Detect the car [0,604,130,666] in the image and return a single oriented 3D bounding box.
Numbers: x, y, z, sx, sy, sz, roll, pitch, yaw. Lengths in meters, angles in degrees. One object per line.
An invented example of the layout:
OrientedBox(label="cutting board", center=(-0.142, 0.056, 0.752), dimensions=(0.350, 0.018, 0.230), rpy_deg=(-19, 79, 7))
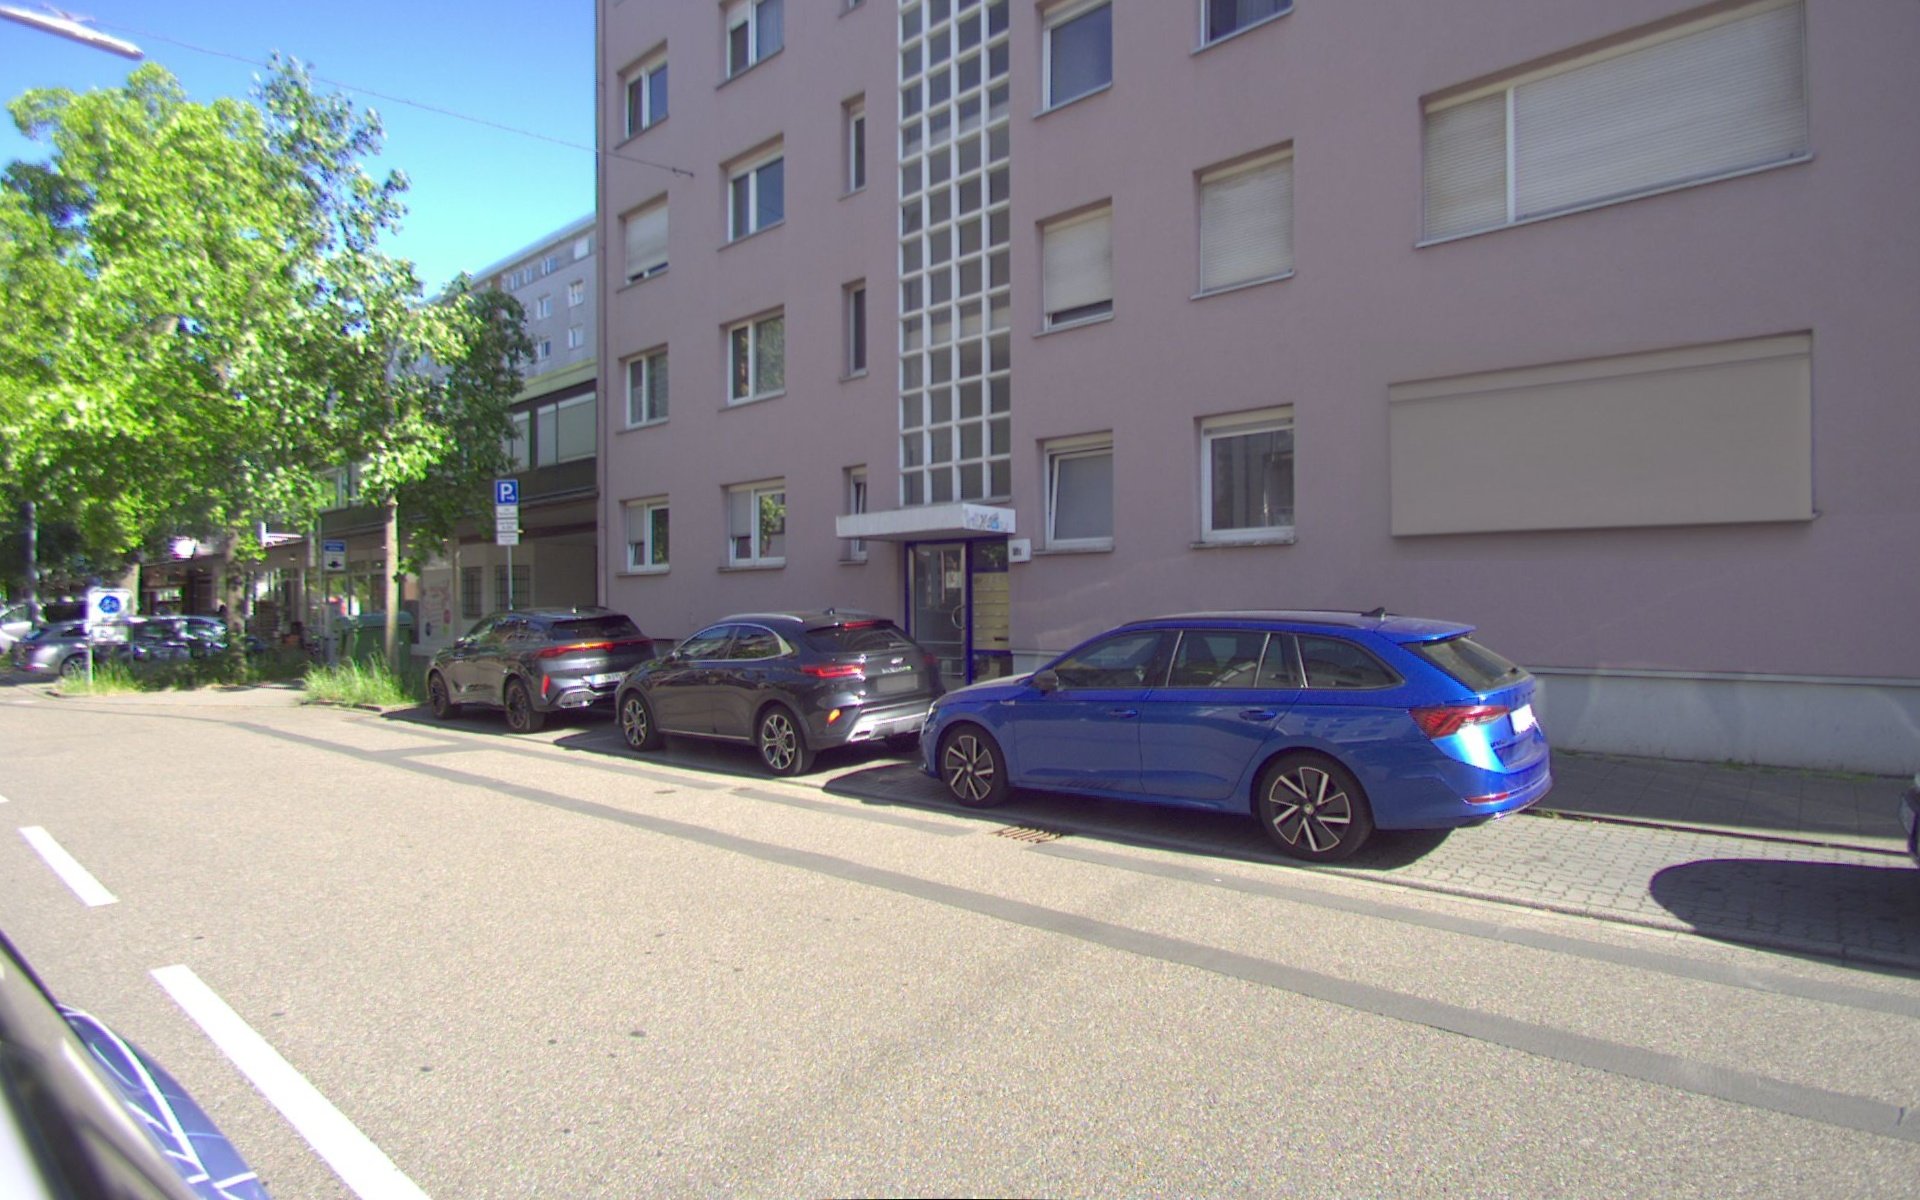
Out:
OrientedBox(label="car", center=(-31.268, 1.161, 34.834), dimensions=(1.999, 2.047, 3.945), rpy_deg=(-1, -1, 41))

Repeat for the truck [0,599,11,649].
OrientedBox(label="truck", center=(-52.277, 1.240, 51.667), dimensions=(1.993, 2.615, 5.266), rpy_deg=(-1, -1, 31))

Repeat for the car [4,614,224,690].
OrientedBox(label="car", center=(-20.957, 1.219, 25.175), dimensions=(1.999, 1.687, 3.945), rpy_deg=(-1, -1, 41))

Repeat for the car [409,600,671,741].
OrientedBox(label="car", center=(-6.039, 0.885, 14.336), dimensions=(4.141, 1.604, 1.798), rpy_deg=(-1, 2, 43))

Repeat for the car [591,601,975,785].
OrientedBox(label="car", center=(-2.035, 0.832, 10.804), dimensions=(4.245, 1.519, 1.798), rpy_deg=(-1, 1, 43))

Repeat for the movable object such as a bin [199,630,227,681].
OrientedBox(label="movable object such as a bin", center=(-18.473, 1.373, 25.029), dimensions=(0.409, 1.234, 0.482), rpy_deg=(-1, -1, 41))

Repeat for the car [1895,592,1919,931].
OrientedBox(label="car", center=(6.311, 0.684, 3.210), dimensions=(4.812, 1.476, 1.700), rpy_deg=(-1, 1, 41))

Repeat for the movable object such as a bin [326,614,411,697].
OrientedBox(label="movable object such as a bin", center=(-11.562, 1.055, 19.778), dimensions=(1.230, 1.557, 1.019), rpy_deg=(0, -1, -44))

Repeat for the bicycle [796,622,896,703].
OrientedBox(label="bicycle", center=(-1.675, 0.885, 14.716), dimensions=(1.649, 1.084, 0.386), rpy_deg=(-1, 3, 42))

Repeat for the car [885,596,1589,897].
OrientedBox(label="car", center=(1.698, 0.780, 7.311), dimensions=(4.610, 1.476, 1.699), rpy_deg=(-1, 1, 41))
